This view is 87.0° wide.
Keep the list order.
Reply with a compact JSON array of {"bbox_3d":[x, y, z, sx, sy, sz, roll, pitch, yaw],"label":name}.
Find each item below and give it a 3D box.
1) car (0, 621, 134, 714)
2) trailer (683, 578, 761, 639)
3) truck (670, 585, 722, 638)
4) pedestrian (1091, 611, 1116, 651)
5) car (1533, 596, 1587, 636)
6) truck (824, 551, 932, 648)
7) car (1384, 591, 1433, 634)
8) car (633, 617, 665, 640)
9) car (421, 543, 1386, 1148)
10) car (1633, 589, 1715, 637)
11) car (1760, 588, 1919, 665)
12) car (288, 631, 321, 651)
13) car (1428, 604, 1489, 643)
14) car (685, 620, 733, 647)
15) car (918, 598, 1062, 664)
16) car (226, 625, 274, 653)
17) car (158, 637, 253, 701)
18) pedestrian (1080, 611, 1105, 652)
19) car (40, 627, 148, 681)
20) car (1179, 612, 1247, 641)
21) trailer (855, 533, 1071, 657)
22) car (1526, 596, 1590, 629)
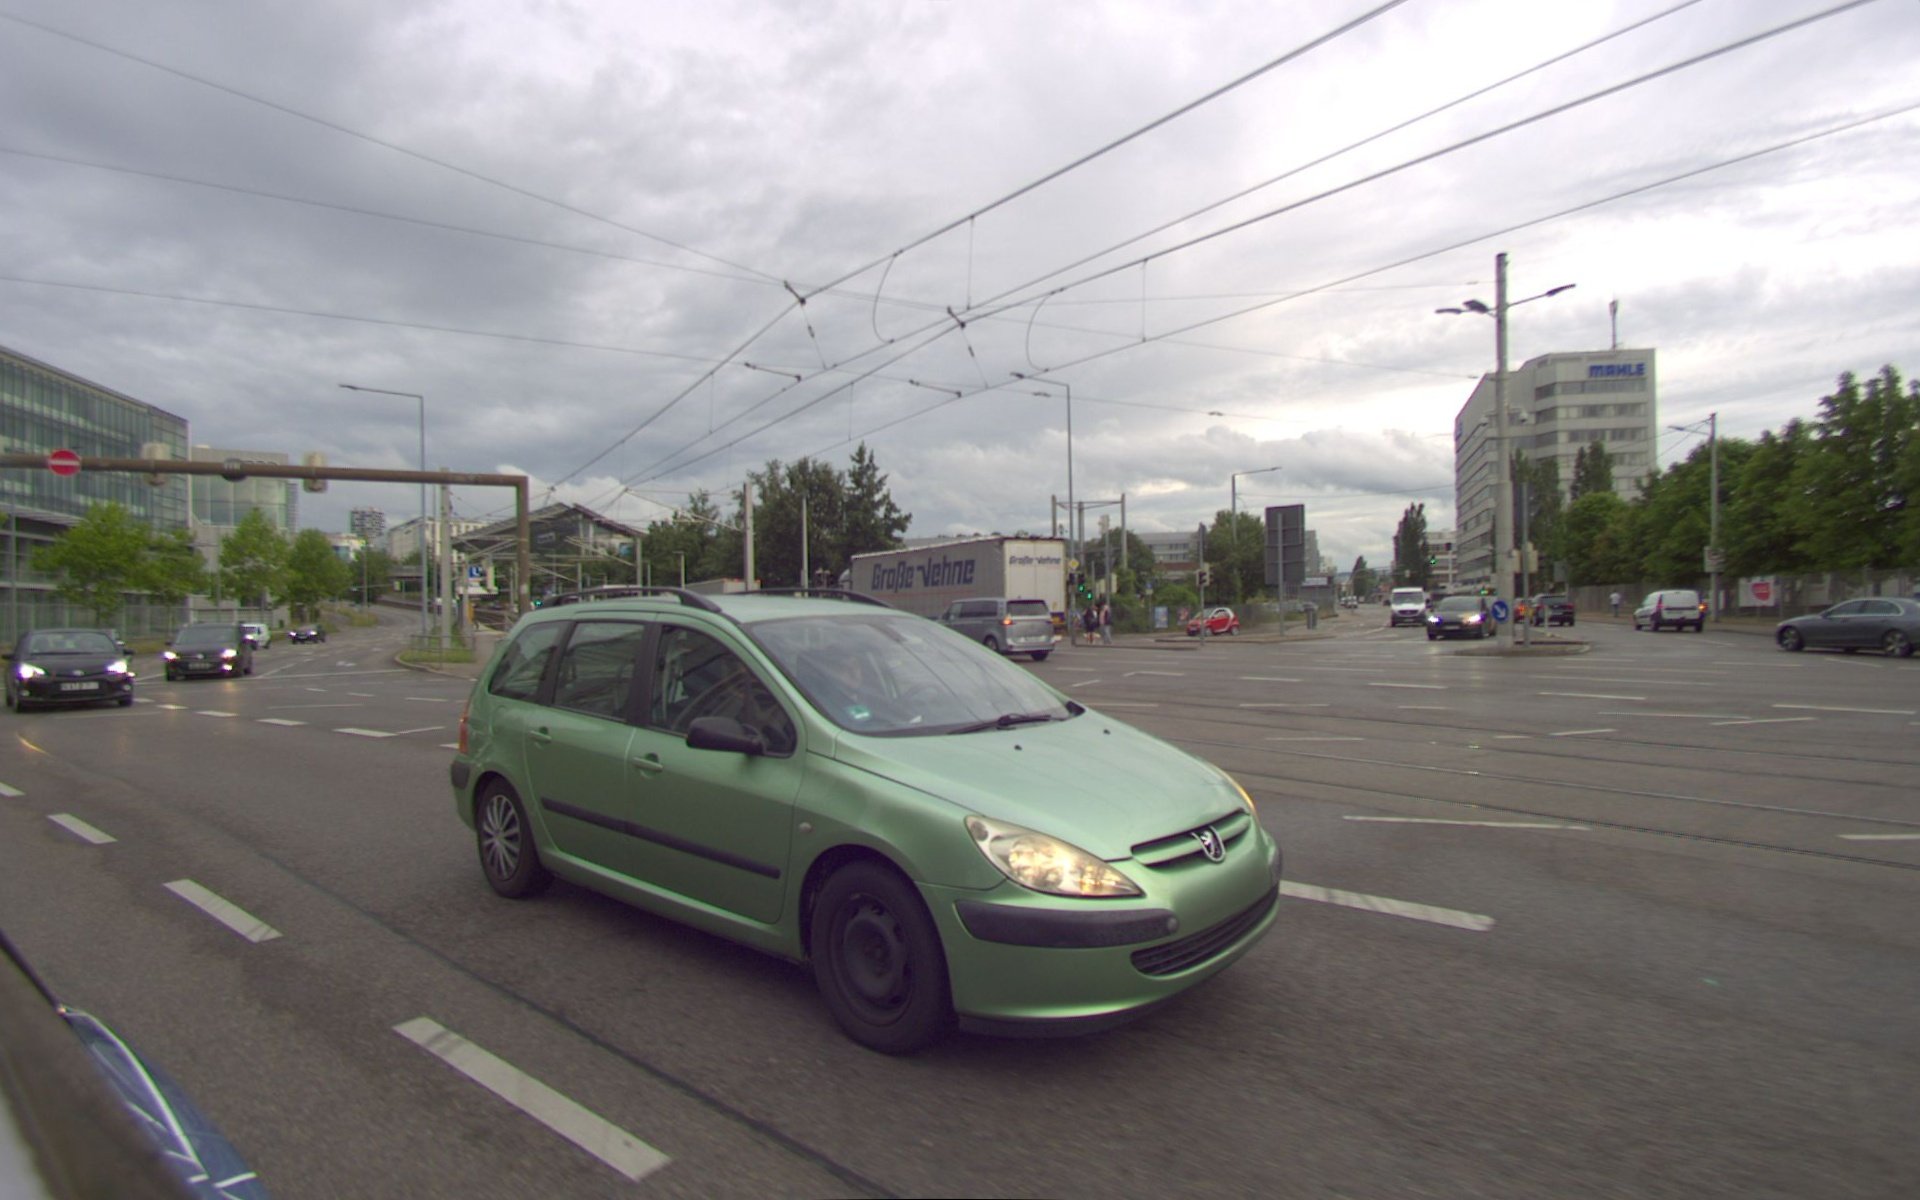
[{"bbox_3d":[-17.092,1.231,19.148,3.903,1.534,1.675,-3,-2,42],"label":"car"},{"bbox_3d":[-17.730,0.732,74.683,2.755,4.139,11.478,0,-2,-27],"label":"trailer"},{"bbox_3d":[-21.364,0.974,81.731,2.792,4.026,6.005,-1,-1,-27],"label":"truck"},{"bbox_3d":[6.209,1.323,43.807,0.716,1.675,0.741,-2,0,-30],"label":"pedestrian"},{"bbox_3d":[30.831,0.779,52.110,1.845,1.824,3.969,-2,1,23],"label":"car"},{"bbox_3d":[-3.886,0.014,46.559,2.629,4.161,6.205,0,-1,-29],"label":"truck"},{"bbox_3d":[27.084,0.694,61.021,2.280,2.301,4.699,-2,1,29],"label":"car"},{"bbox_3d":[-25.754,2.324,83.676,1.861,1.664,4.109,-3,1,-26],"label":"car"},{"bbox_3d":[-0.646,0.628,4.569,4.401,1.479,1.677,-2,1,42],"label":"car"},{"bbox_3d":[28.937,0.507,41.138,1.845,1.697,3.969,-2,1,23],"label":"car"},{"bbox_3d":[22.101,0.583,24.107,1.969,1.621,4.653,-3,1,-8],"label":"car"},{"bbox_3d":[-55.087,3.429,85.098,1.673,1.534,3.838,-2,1,-23],"label":"car"},{"bbox_3d":[19.056,0.871,38.644,1.990,1.412,3.963,-1,-1,27],"label":"car"},{"bbox_3d":[-16.254,2.144,65.319,1.877,1.566,4.580,-3,1,-28],"label":"car"},{"bbox_3d":[0.810,0.937,31.191,1.966,1.851,4.922,-1,-1,-33],"label":"car"},{"bbox_3d":[-48.596,2.647,69.333,1.799,1.723,4.167,-3,1,-23],"label":"car"},{"bbox_3d":[-22.086,1.960,29.772,1.703,1.604,4.205,-3,0,-30],"label":"car"},{"bbox_3d":[5.626,1.325,42.994,0.716,1.718,0.741,-2,0,-30],"label":"pedestrian"},{"bbox_3d":[-27.398,1.646,32.165,1.711,1.489,4.013,-3,0,-28],"label":"car"},{"bbox_3d":[13.756,1.431,54.986,3.260,1.446,1.459,-1,0,-15],"label":"car"},{"bbox_3d":[-0.413,-0.072,40.179,2.613,4.156,12.785,0,-1,-29],"label":"trailer"},{"bbox_3d":[31.114,0.641,52.824,1.984,1.621,4.426,-1,-1,19],"label":"car"}]
